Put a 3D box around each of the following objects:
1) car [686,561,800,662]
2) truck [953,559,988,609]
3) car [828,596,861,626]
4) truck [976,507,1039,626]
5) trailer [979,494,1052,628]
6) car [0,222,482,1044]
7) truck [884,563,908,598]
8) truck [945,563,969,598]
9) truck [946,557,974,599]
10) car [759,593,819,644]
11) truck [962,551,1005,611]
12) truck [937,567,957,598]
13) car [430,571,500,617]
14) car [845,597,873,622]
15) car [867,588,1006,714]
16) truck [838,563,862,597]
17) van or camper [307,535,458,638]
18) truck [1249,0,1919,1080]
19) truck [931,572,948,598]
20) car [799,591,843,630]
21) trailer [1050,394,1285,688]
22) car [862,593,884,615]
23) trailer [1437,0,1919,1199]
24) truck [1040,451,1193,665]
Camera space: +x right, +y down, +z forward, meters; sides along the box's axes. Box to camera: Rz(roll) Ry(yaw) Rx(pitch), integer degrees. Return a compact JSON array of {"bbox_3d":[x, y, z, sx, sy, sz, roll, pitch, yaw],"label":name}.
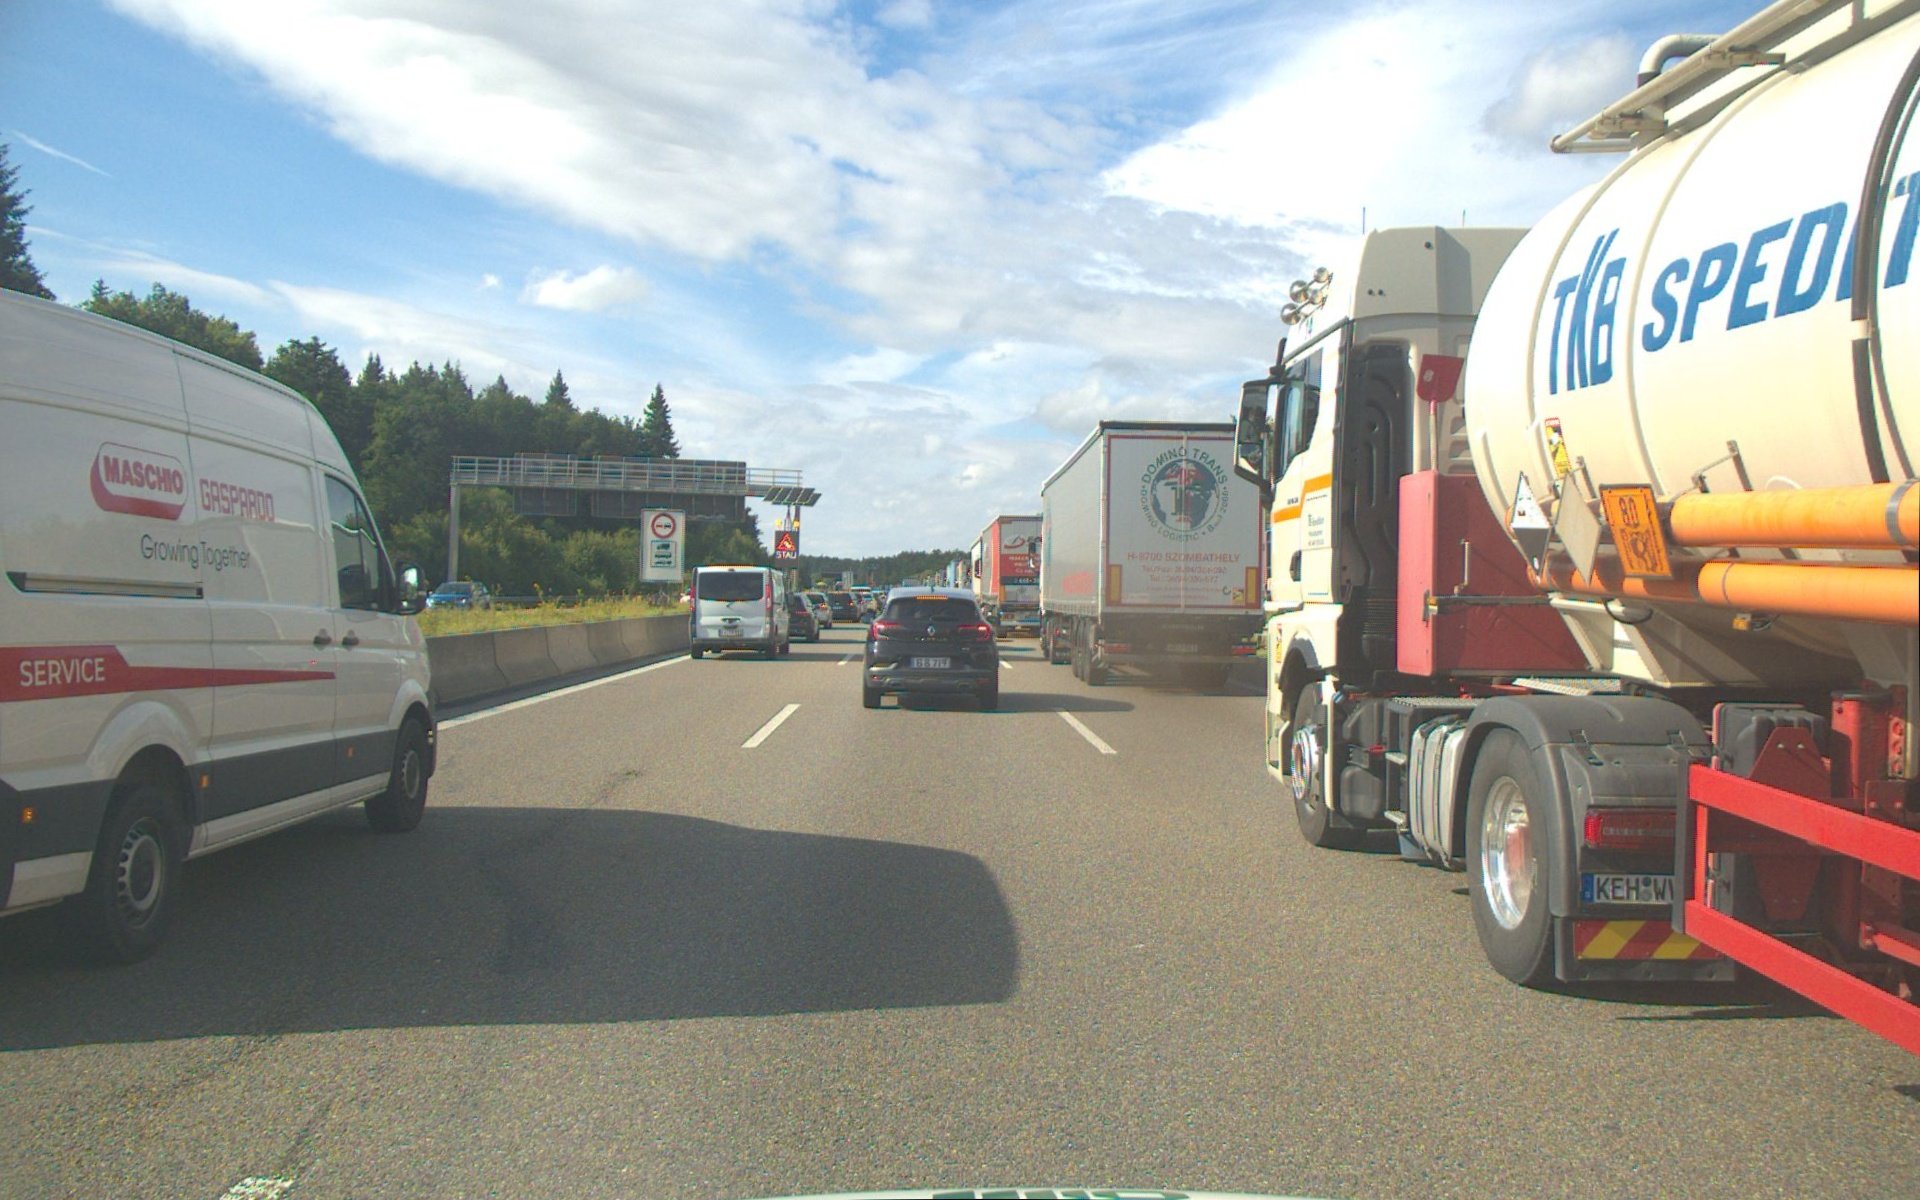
[{"bbox_3d":[-4.832,0.238,37.542,1.894,2.013,5.097,4,0,-1],"label":"car"},{"bbox_3d":[0.626,-0.999,104.768,1.953,2.982,4.980,4,0,-1],"label":"truck"},{"bbox_3d":[-5.589,0.515,80.371,1.406,1.333,3.532,4,0,-2],"label":"car"},{"bbox_3d":[1.780,-1.217,64.236,2.090,4.356,6.337,1,0,-1],"label":"truck"},{"bbox_3d":[1.864,-1.265,58.033,2.106,4.333,8.438,1,0,-1],"label":"trailer"},{"bbox_3d":[-4.169,0.081,8.203,1.974,2.644,6.179,0,0,-2],"label":"car"},{"bbox_3d":[-6.979,-2.079,181.375,2.297,3.656,6.304,4,0,-1],"label":"truck"},{"bbox_3d":[-0.299,-1.792,153.126,1.953,3.105,4.980,4,0,-1],"label":"truck"},{"bbox_3d":[-0.041,-1.713,130.910,1.953,3.105,4.980,4,0,-1],"label":"truck"},{"bbox_3d":[-5.083,0.535,49.578,1.470,1.420,3.475,2,0,-1],"label":"car"},{"bbox_3d":[1.215,-0.996,88.260,1.953,2.982,4.980,4,0,-1],"label":"truck"},{"bbox_3d":[-1.419,-1.815,177.285,1.953,3.105,4.980,4,0,-1],"label":"truck"},{"bbox_3d":[-20.373,-0.235,68.202,1.753,1.744,3.644,4,0,-1],"label":"car"},{"bbox_3d":[-5.816,0.533,95.112,1.406,1.333,3.532,4,0,-2],"label":"car"},{"bbox_3d":[-0.243,0.620,22.747,1.661,1.508,4.161,1,1,2],"label":"car"},{"bbox_3d":[-12.449,-2.224,187.573,2.297,3.656,6.304,4,0,-1],"label":"truck"},{"bbox_3d":[-15.939,-0.374,46.150,1.908,2.638,7.150,1,0,-2],"label":"van or camper"},{"bbox_3d":[3.375,-0.363,8.399,2.482,3.646,6.727,1,0,-1],"label":"truck"},{"bbox_3d":[-2.533,-1.833,203.012,1.953,3.105,4.980,4,0,-1],"label":"truck"},{"bbox_3d":[-5.658,0.416,67.532,1.470,1.420,3.475,4,0,-1],"label":"car"},{"bbox_3d":[3.367,-0.865,29.945,2.745,4.318,11.055,0,0,-1],"label":"trailer"},{"bbox_3d":[-5.768,0.250,109.905,1.333,1.323,3.083,4,0,-2],"label":"car"},{"bbox_3d":[3.501,-0.309,2.170,2.489,3.717,10.624,1,0,-1],"label":"trailer"},{"bbox_3d":[3.329,-0.855,36.766,2.729,4.321,6.458,0,0,0],"label":"truck"}]
